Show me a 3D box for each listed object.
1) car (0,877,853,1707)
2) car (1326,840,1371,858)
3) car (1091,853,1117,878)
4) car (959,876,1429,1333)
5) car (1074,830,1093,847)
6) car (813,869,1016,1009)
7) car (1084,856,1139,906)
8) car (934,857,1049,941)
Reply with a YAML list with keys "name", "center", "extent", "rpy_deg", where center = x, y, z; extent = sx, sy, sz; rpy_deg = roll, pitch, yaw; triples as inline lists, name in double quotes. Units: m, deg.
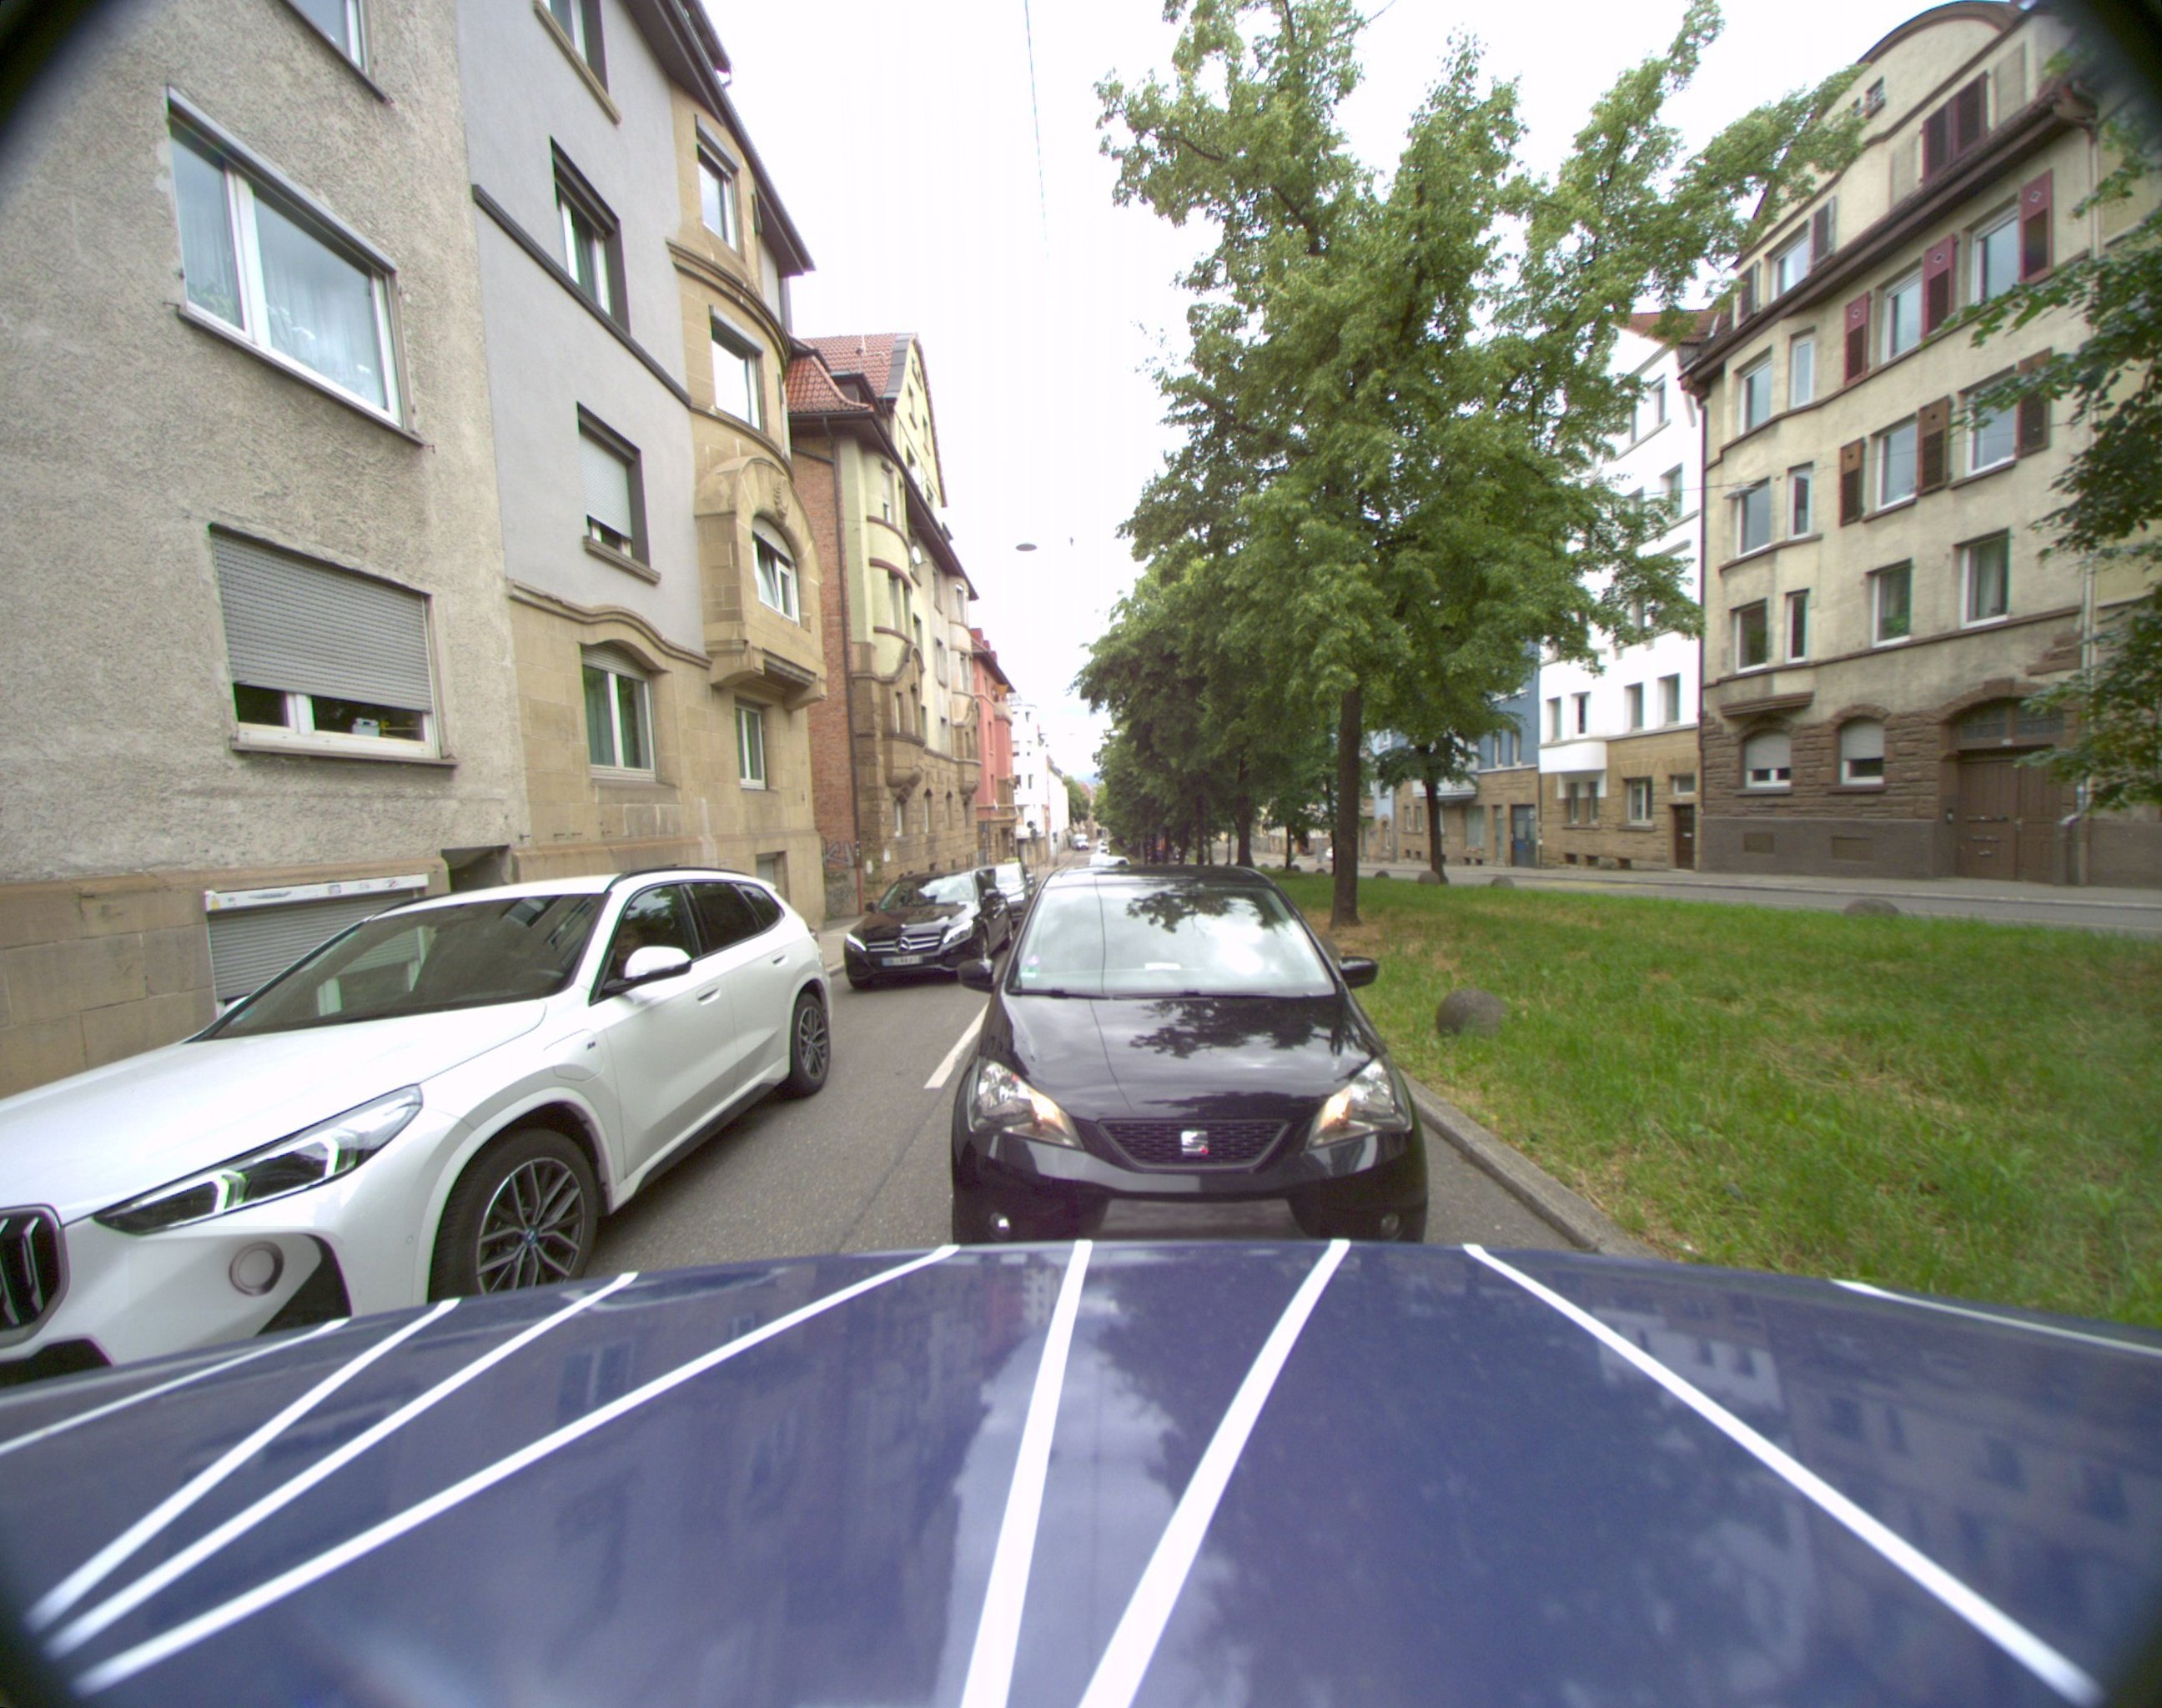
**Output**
- name: "car"
  center: [-2.794, 1.074, 3.731]
  extent: [1.859, 1.547, 4.350]
  rpy_deg: [-6, 1, 0]
- name: "car"
  center: [22.211, -0.418, 63.115]
  extent: [3.291, 1.323, 1.672]
  rpy_deg: [-2, 1, 10]
- name: "car"
  center: [1.495, 0.718, 50.472]
  extent: [1.607, 1.492, 3.737]
  rpy_deg: [-2, 1, 1]
- name: "car"
  center: [0.412, 0.919, 4.274]
  extent: [1.611, 1.457, 3.296]
  rpy_deg: [0, 1, 1]
- name: "car"
  center: [0.451, -2.658, 135.679]
  extent: [2.717, 2.879, 6.449]
  rpy_deg: [-2, 1, -5]
- name: "car"
  center: [-2.173, 1.067, 11.214]
  extent: [1.884, 1.369, 4.205]
  rpy_deg: [-6, 1, 1]
- name: "car"
  center: [0.966, 0.845, 25.356]
  extent: [1.664, 1.456, 3.581]
  rpy_deg: [-2, 1, 1]
- name: "car"
  center: [-1.971, 0.956, 18.052]
  extent: [1.936, 1.506, 4.303]
  rpy_deg: [-6, 1, 2]
